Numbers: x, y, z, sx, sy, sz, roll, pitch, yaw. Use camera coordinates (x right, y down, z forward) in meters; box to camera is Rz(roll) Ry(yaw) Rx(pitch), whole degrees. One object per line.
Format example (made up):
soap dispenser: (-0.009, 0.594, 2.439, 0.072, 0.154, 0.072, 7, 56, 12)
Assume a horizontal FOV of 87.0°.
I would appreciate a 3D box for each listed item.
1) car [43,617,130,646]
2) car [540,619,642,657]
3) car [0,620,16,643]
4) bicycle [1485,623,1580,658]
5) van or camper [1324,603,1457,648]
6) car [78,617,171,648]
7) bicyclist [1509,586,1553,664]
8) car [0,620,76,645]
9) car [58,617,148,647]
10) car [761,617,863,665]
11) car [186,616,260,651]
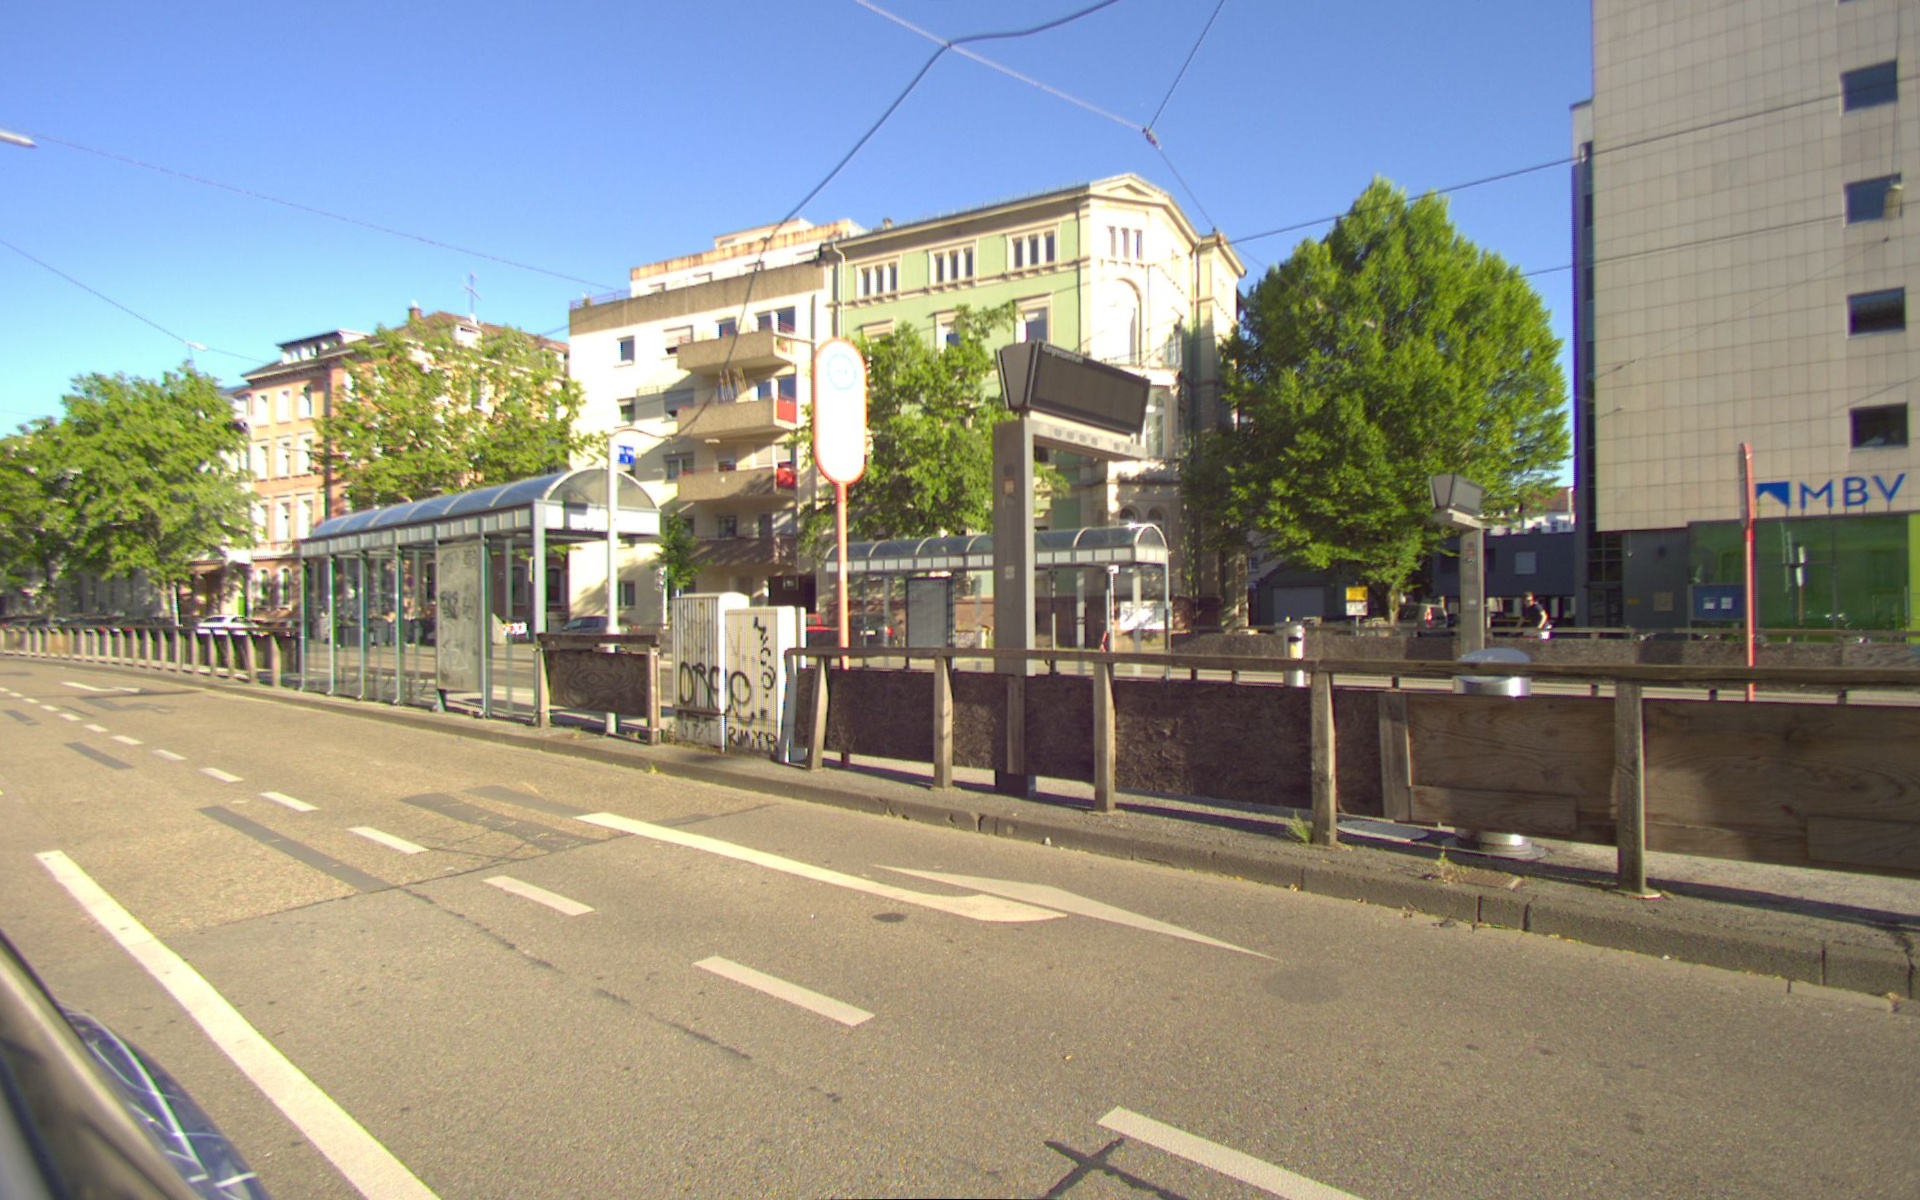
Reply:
car: (-54.300, 1.943, 62.959, 2.001, 1.697, 3.942, -2, -2, 44)
car: (-14.002, 1.420, 38.396, 3.498, 1.406, 1.602, -1, -2, 22)
car: (-68.099, 2.201, 70.115, 2.001, 1.604, 3.812, -2, -2, 44)
bicycle: (13.291, 0.926, 23.528, 1.852, 0.793, 0.529, -1, -2, 41)
van or camper: (15.506, 0.891, 36.549, 3.998, 1.417, 1.943, 2, 0, 41)
car: (-47.976, 1.833, 58.158, 2.001, 1.697, 3.942, -2, -2, 44)
bicyclist: (13.226, 0.580, 23.435, 0.770, 1.774, 0.529, -1, -2, 41)
car: (-59.610, 2.068, 65.271, 3.811, 1.604, 2.001, 1, -2, -45)
car: (-51.293, 1.897, 60.631, 2.001, 1.697, 3.942, -2, -2, 44)
car: (-5.000, 1.371, 34.692, 1.763, 1.547, 3.763, -1, -2, 23)
car: (-39.520, 1.760, 54.376, 1.966, 1.736, 4.012, 0, 1, -15)
